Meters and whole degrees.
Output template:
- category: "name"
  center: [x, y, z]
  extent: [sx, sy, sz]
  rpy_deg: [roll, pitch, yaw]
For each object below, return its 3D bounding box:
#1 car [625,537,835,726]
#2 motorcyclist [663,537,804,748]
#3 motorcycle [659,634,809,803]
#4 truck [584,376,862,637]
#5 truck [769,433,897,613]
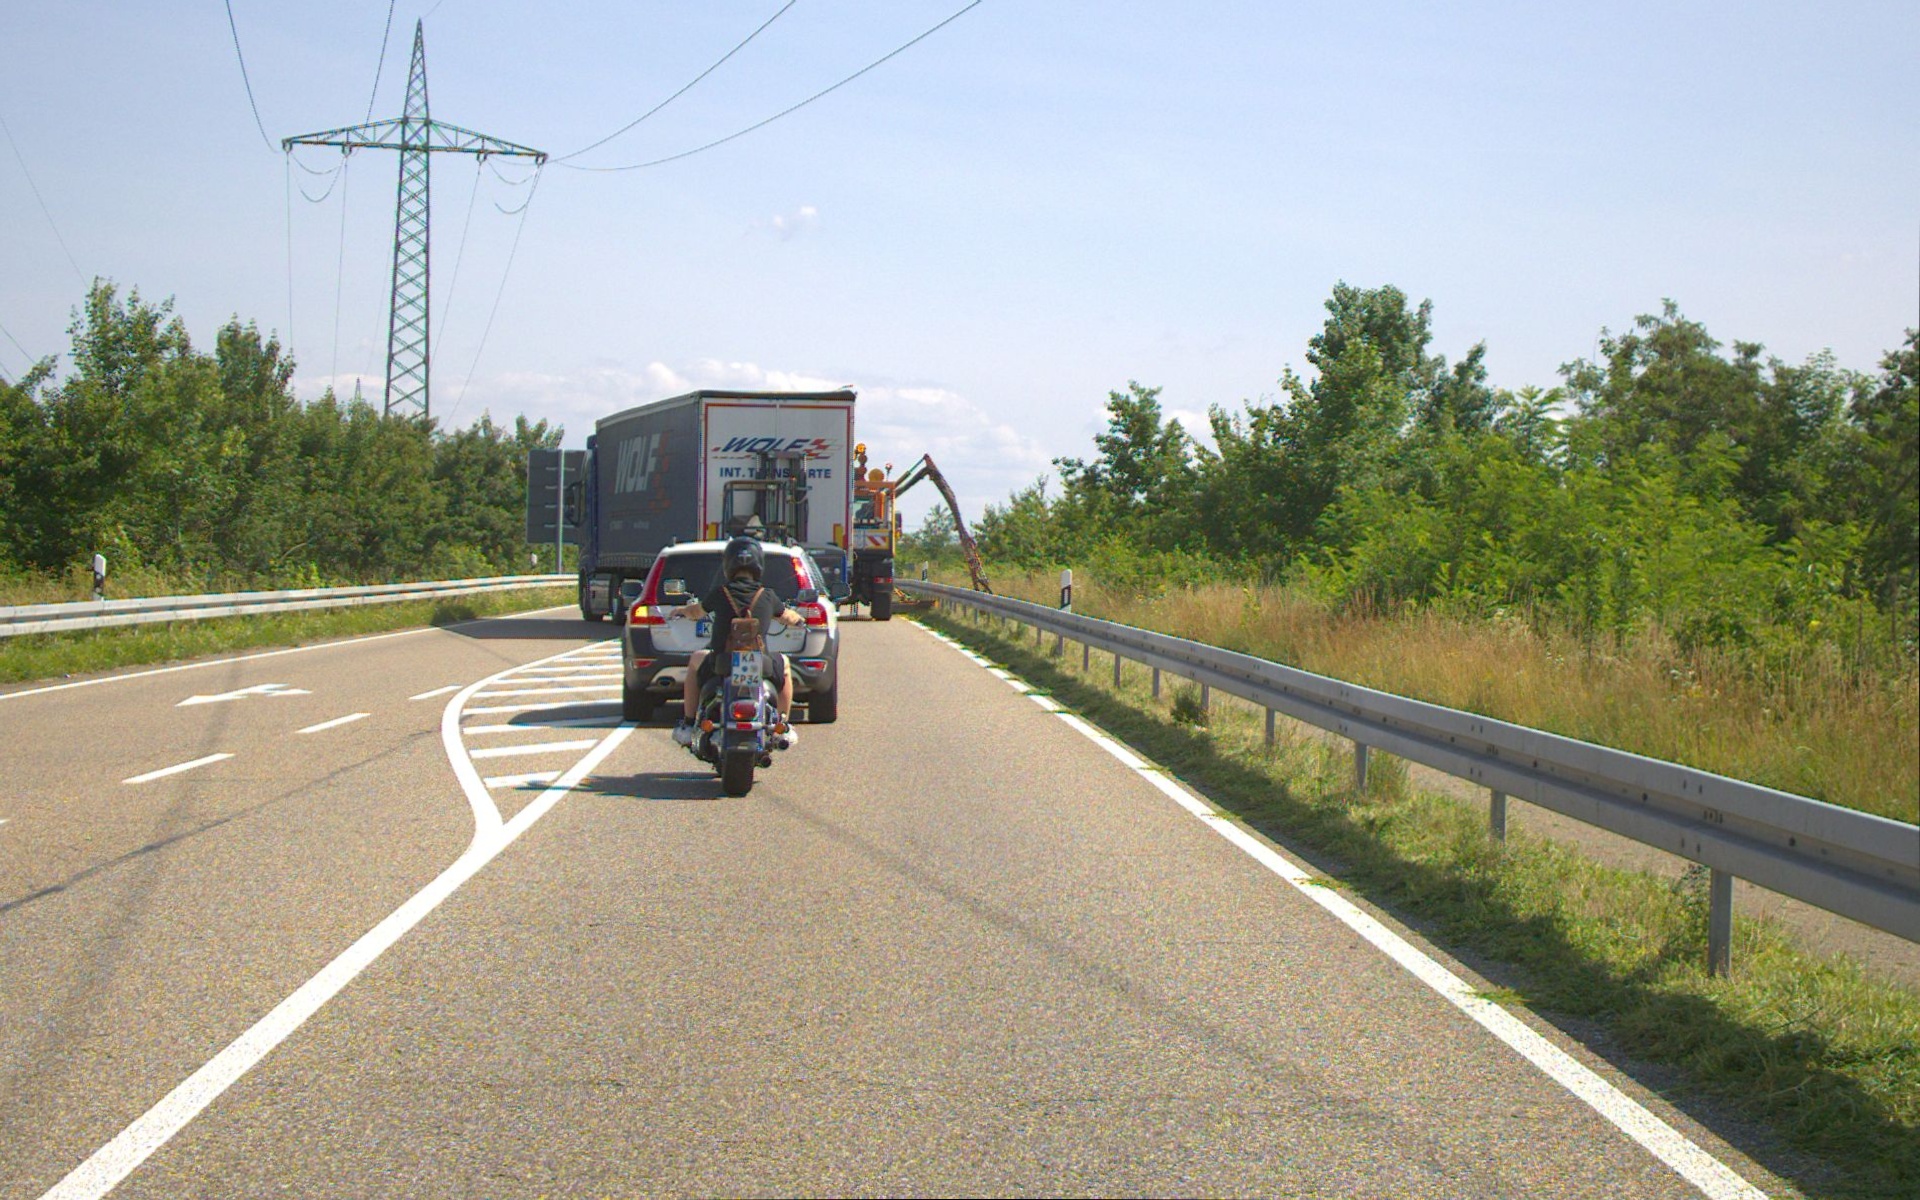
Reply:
- category: "car"
  center: [-2.012, 0.232, 30.050]
  extent: [1.700, 1.531, 3.500]
  rpy_deg: [1, 1, -4]
- category: "motorcyclist"
  center: [-1.409, 0.253, 21.379]
  extent: [0.837, 1.276, 0.919]
  rpy_deg: [1, 1, -4]
- category: "motorcycle"
  center: [-1.401, 0.704, 21.252]
  extent: [0.858, 0.912, 2.228]
  rpy_deg: [1, 1, -4]
- category: "truck"
  center: [-4.615, -1.646, 62.927]
  extent: [2.967, 4.172, 14.826]
  rpy_deg: [1, 1, -12]
- category: "truck"
  center: [-2.837, -1.665, 75.194]
  extent: [2.613, 3.698, 6.778]
  rpy_deg: [1, 1, -3]
